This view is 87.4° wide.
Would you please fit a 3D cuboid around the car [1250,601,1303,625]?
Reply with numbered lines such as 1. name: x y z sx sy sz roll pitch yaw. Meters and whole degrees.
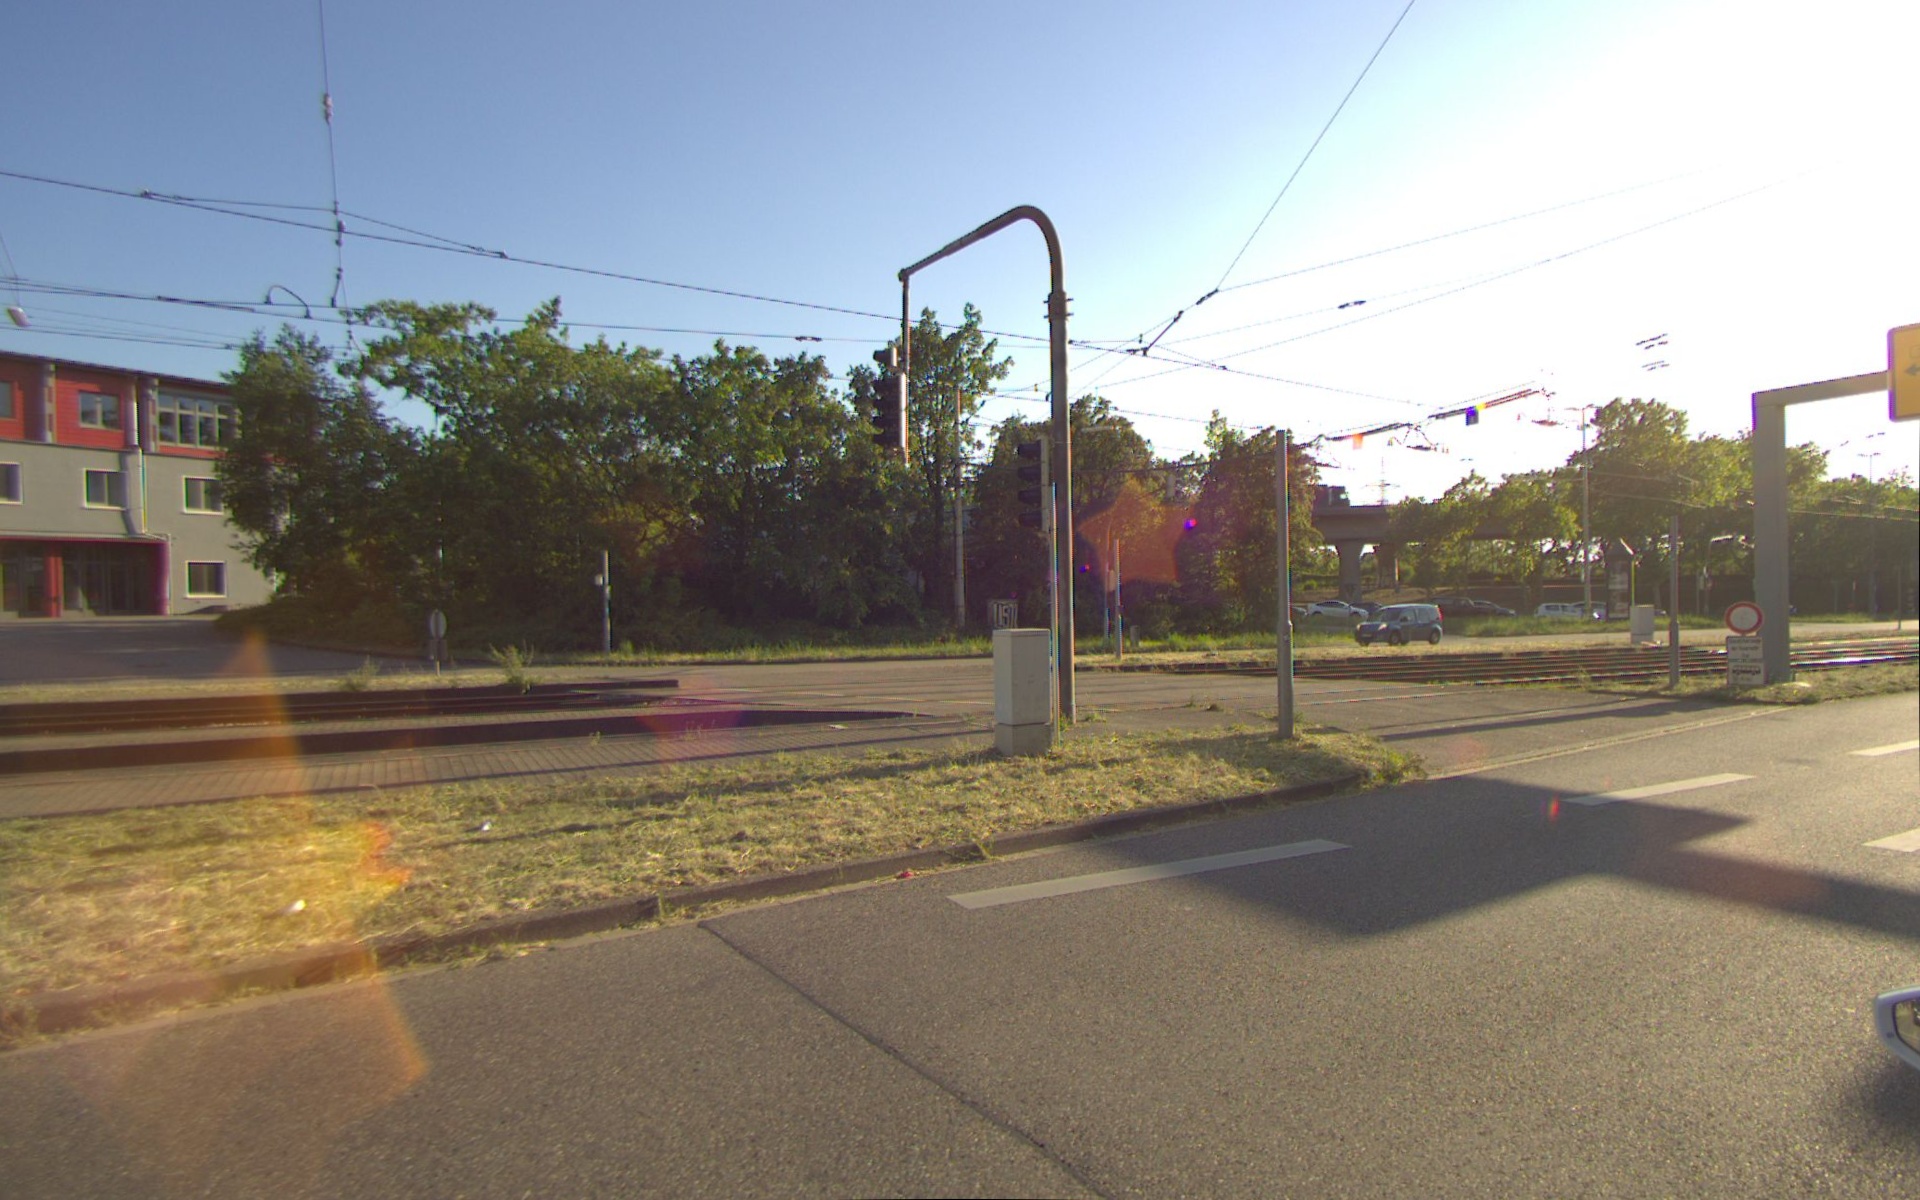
1. car: 26.974 1.106 85.584 3.930 2.040 1.996 0 0 31

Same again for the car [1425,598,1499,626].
1. car: 37.301 0.844 74.675 4.856 2.018 2.033 0 0 30

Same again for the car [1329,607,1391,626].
1. car: 32.700 1.349 82.231 4.543 1.478 1.690 0 1 30

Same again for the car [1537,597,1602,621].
1. car: 43.198 0.629 71.202 3.933 1.596 1.688 0 0 34

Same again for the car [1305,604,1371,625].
1. car: 29.829 1.160 79.246 4.682 1.595 1.690 -1 -1 30

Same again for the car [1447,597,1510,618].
1. car: 39.994 0.590 77.518 4.177 1.596 1.689 0 0 33

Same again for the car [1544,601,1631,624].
1. car: 45.877 0.902 73.528 5.281 1.596 1.734 0 0 37

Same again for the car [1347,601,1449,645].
1. car: 19.258 0.992 44.126 4.206 1.811 1.925 -1 0 -29

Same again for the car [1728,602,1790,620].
1. car: 71.051 0.995 89.331 1.720 1.525 3.971 -1 0 -28
